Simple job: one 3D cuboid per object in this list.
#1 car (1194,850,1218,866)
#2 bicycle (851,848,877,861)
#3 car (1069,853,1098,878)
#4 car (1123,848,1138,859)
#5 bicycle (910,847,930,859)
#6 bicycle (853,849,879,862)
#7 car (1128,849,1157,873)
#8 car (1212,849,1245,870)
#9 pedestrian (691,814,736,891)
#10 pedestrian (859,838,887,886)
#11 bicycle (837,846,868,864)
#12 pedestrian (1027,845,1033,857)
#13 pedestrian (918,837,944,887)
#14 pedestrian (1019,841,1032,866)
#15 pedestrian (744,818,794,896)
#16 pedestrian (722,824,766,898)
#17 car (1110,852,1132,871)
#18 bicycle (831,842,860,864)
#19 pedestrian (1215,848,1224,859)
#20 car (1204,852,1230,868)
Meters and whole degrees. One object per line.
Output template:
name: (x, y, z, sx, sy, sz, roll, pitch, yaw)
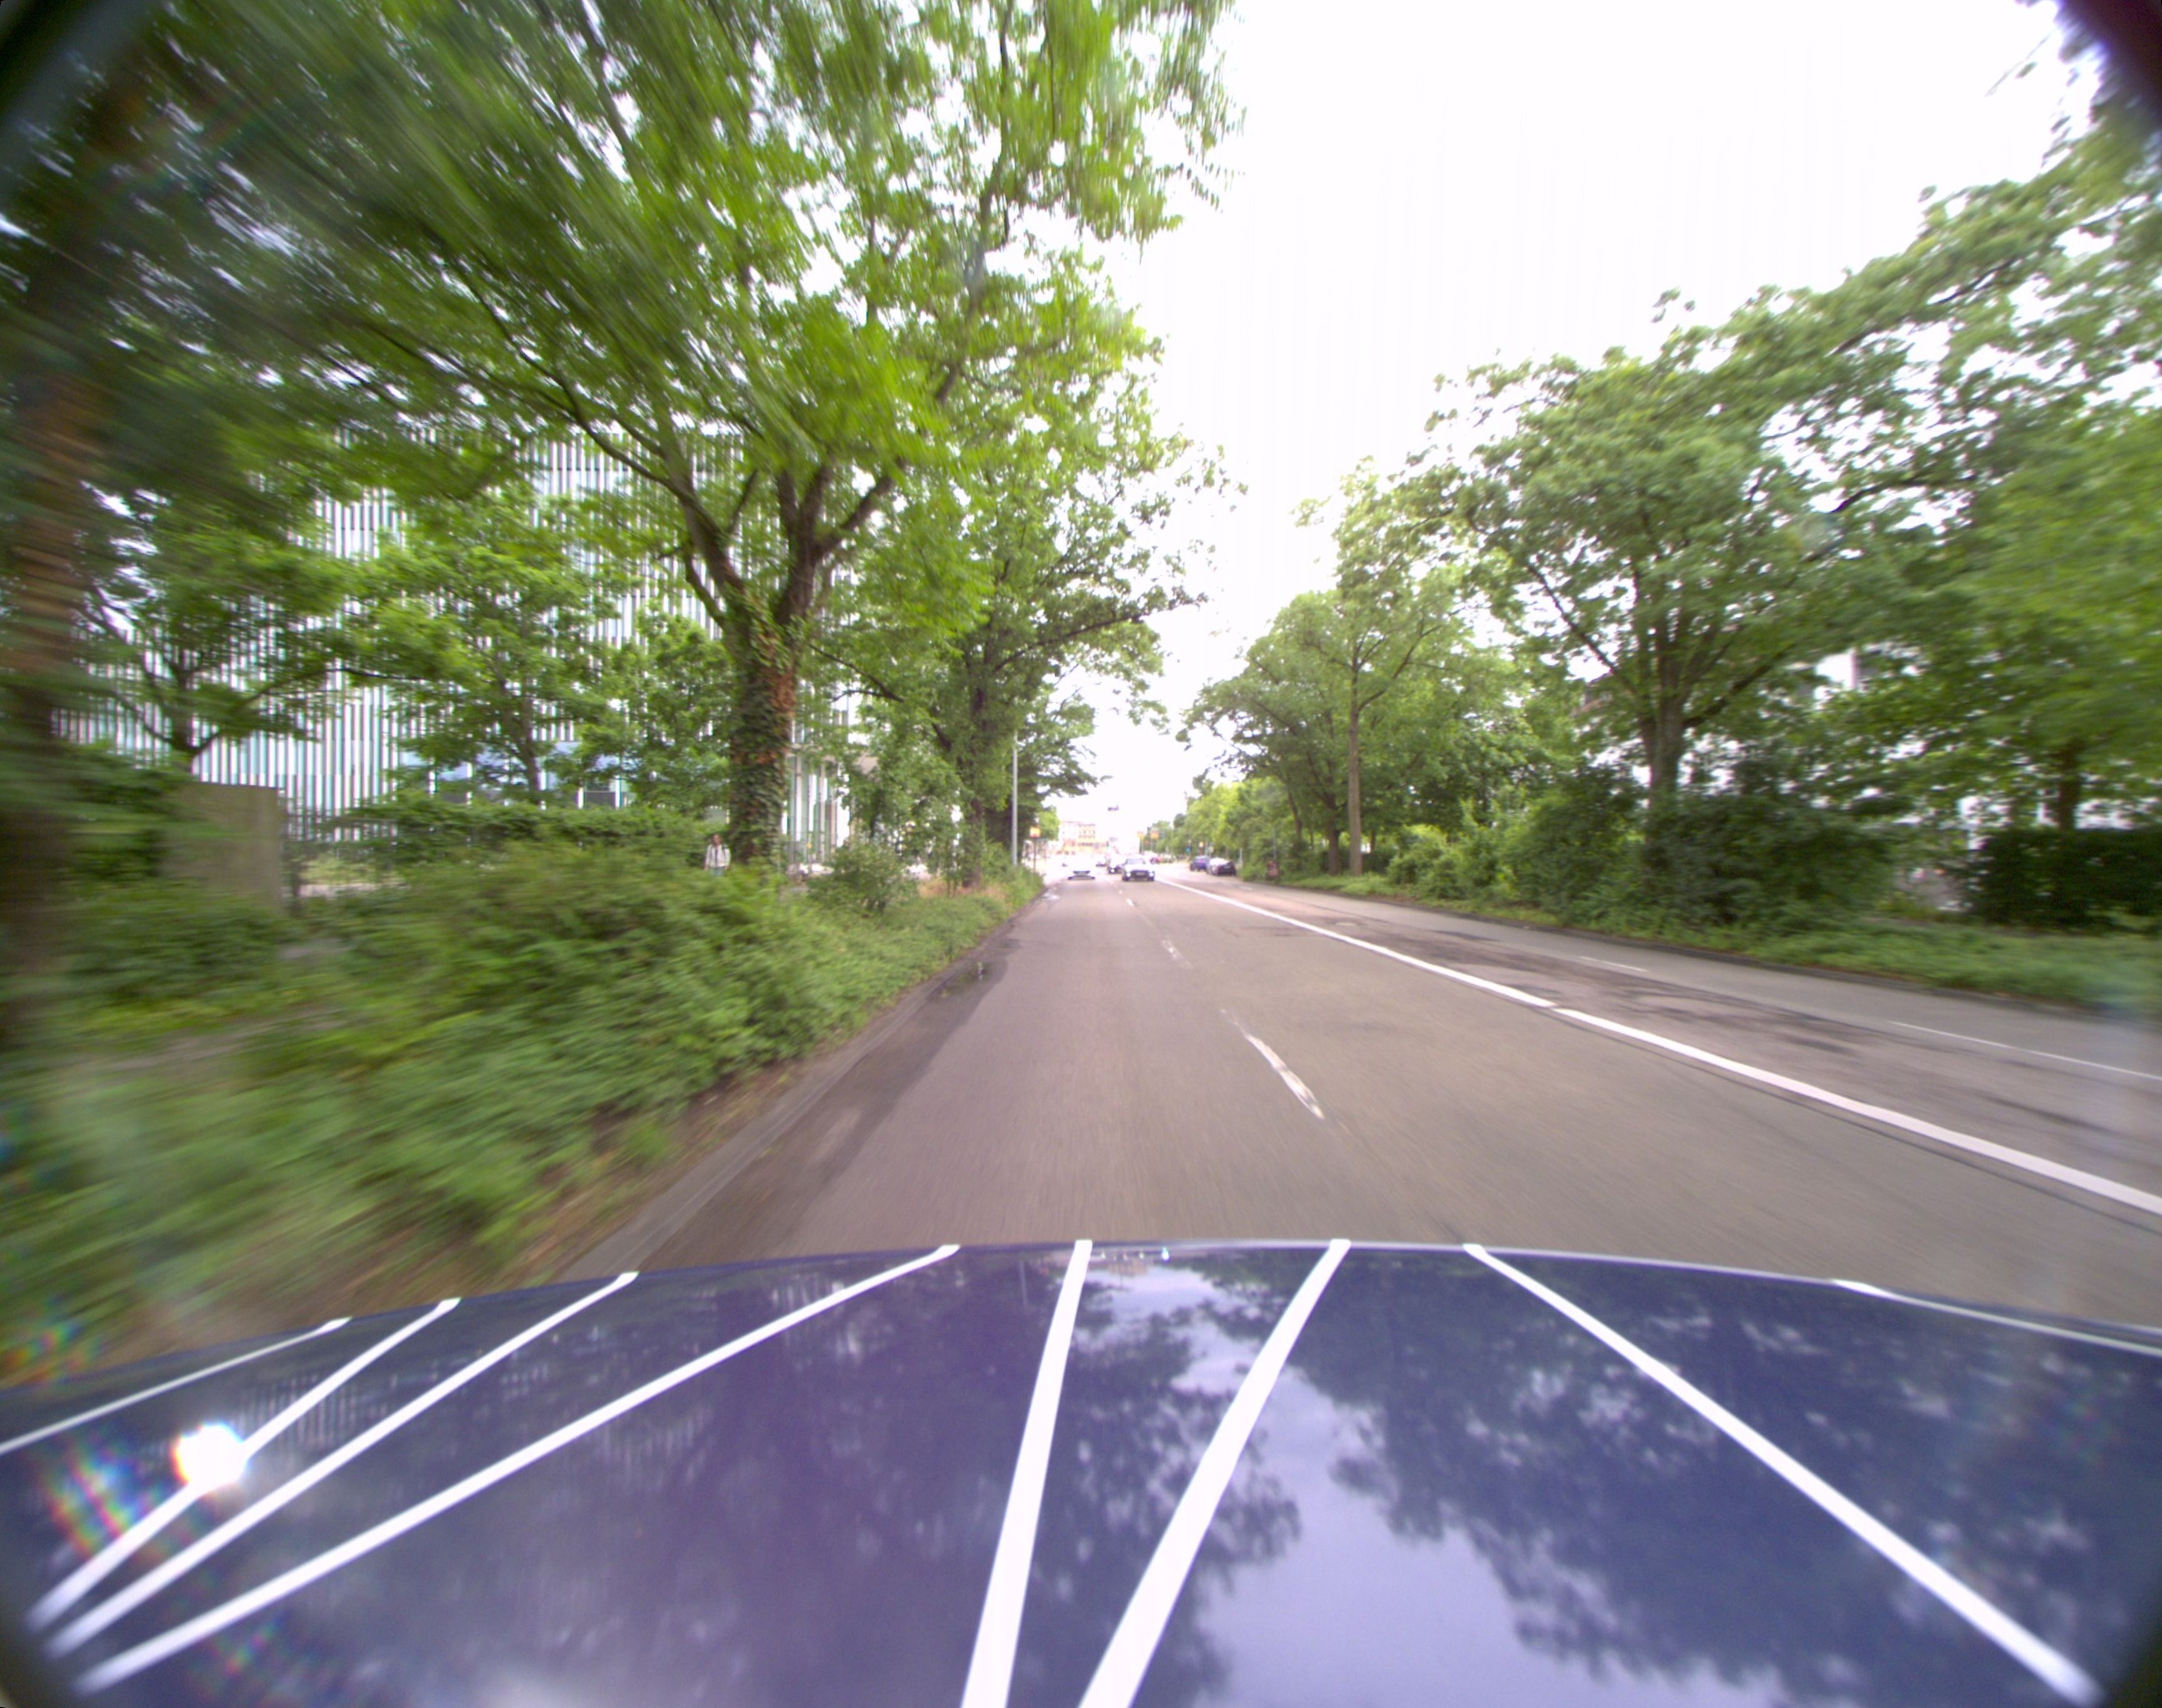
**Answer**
car: (13.057, 0.366, 79.645, 1.863, 1.598, 4.593, -1, 0, 2)
bicycle: (-14.846, 0.025, 52.011, 1.610, 0.869, 0.556, 2, 1, 1)
car: (0.218, 0.730, 49.815, 1.813, 1.533, 4.000, 1, 0, 1)
car: (7.246, -0.061, 111.257, 1.907, 1.584, 4.516, 1, 0, 1)
bicycle: (-15.137, -0.084, 71.434, 1.647, 1.085, 0.572, 3, 1, 9)
bicycle: (-14.965, 0.095, 52.925, 1.610, 0.869, 0.556, 2, 1, 1)
car: (3.574, 0.367, 44.198, 1.624, 1.310, 3.706, 1, 0, 4)
car: (12.559, 0.415, 64.901, 1.998, 1.680, 4.000, -1, 0, 1)
pedestrian: (-9.817, -0.028, 20.299, 0.826, 2.002, 0.720, 1, 1, 0)
pedestrian: (-8.865, 0.335, 32.463, 0.928, 2.002, 1.039, 1, 1, -4)
bicycle: (-15.013, 0.053, 50.017, 1.799, 1.075, 0.626, 3, 1, -1)
pedestrian: (-8.147, -0.503, 122.356, 0.844, 2.002, 0.894, 1, 1, 2)
pedestrian: (-6.120, 0.304, 31.017, 0.845, 2.002, 0.894, 1, 1, 0)
pedestrian: (-4.446, -0.033, 61.042, 0.914, 2.001, 0.854, 2, -1, -1)
pedestrian: (-8.319, 0.074, 20.300, 0.928, 2.002, 1.039, 1, 1, -4)
pedestrian: (-9.278, 0.186, 20.948, 0.826, 2.002, 0.720, 2, 1, 0)
car: (3.378, 0.601, 63.246, 1.731, 1.450, 4.001, 1, 0, 4)
bicycle: (-14.955, -0.057, 48.237, 1.649, 1.325, 0.463, 3, 1, 14)
pedestrian: (25.000, -0.126, 137.073, 1.043, 2.002, 1.098, -2, 1, -30)
car: (12.563, 0.503, 70.486, 1.878, 1.416, 4.729, 0, 0, 4)
